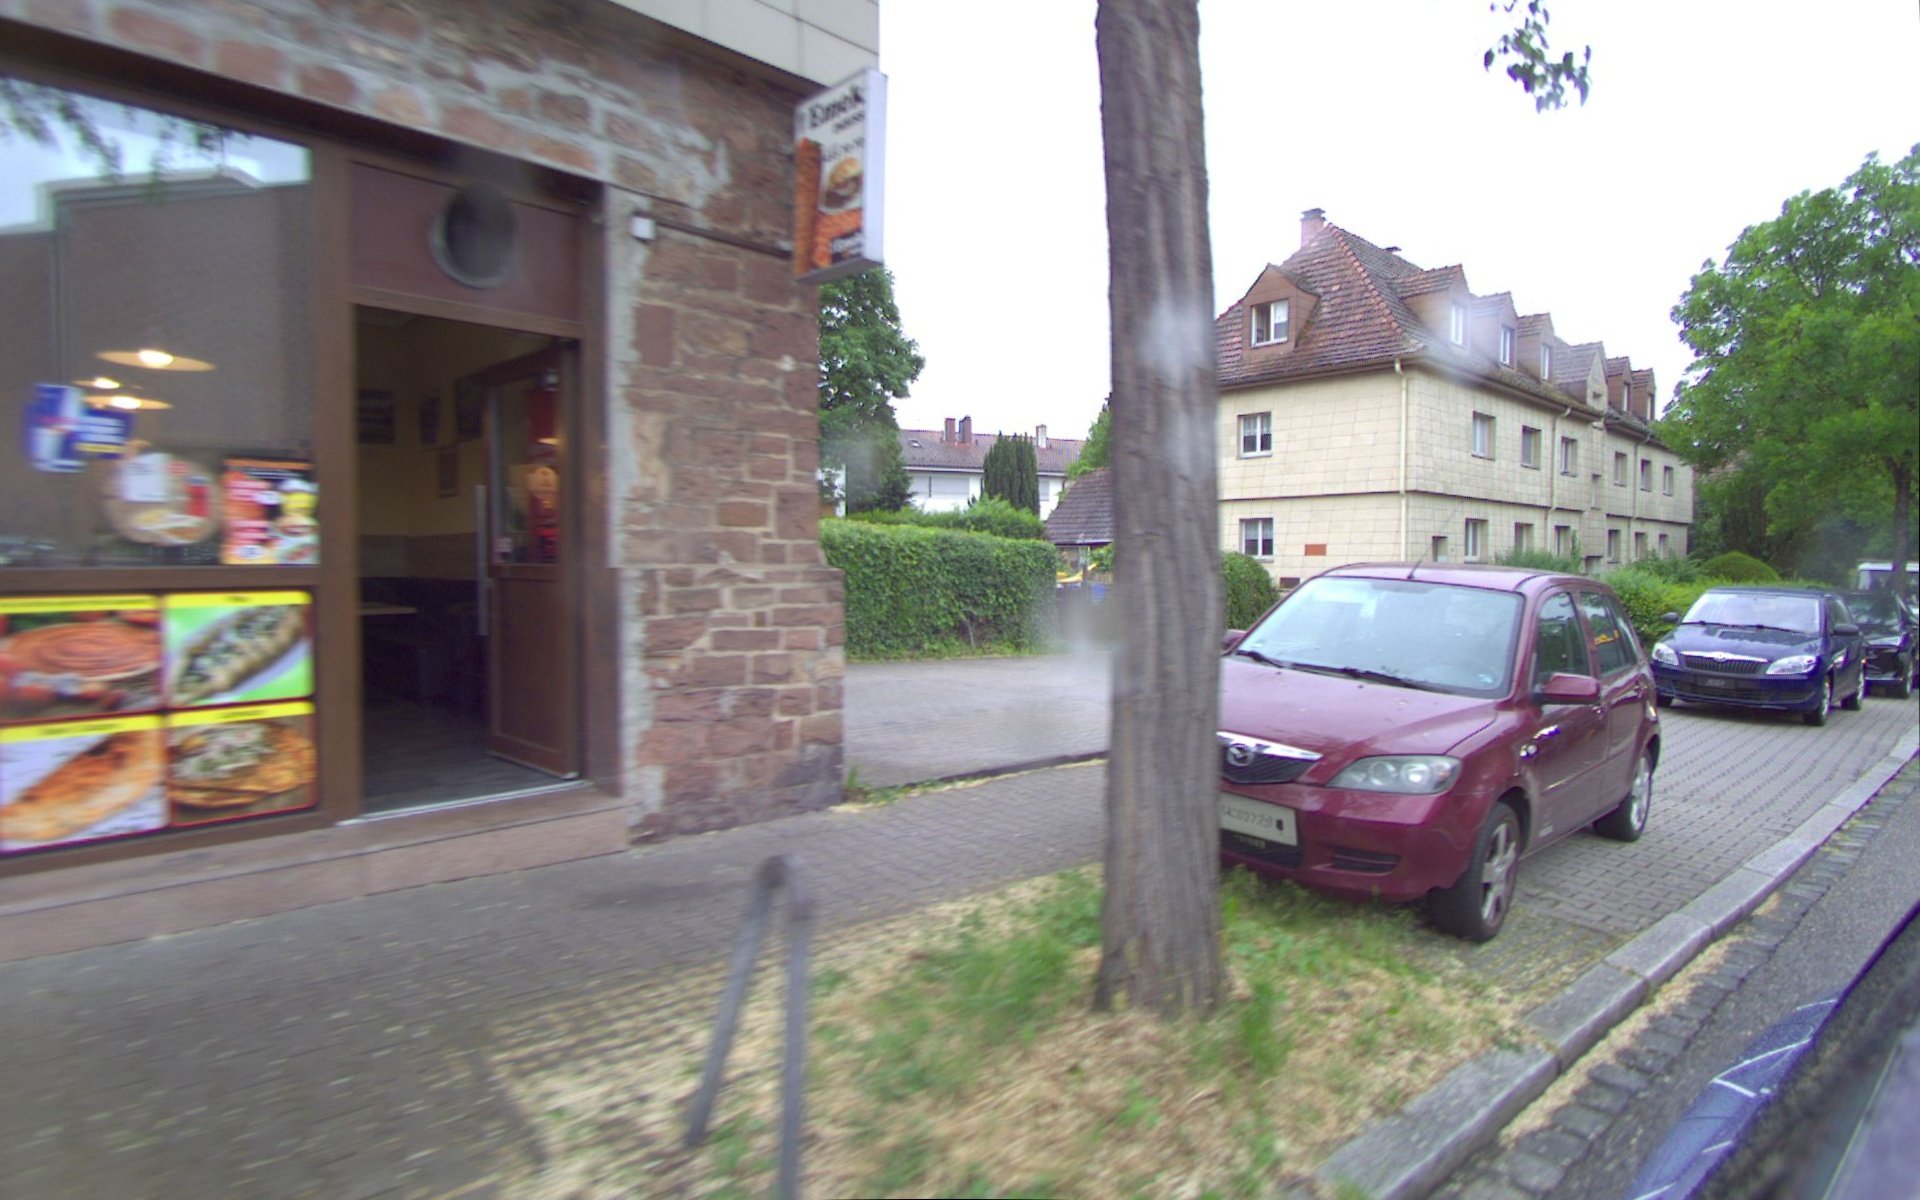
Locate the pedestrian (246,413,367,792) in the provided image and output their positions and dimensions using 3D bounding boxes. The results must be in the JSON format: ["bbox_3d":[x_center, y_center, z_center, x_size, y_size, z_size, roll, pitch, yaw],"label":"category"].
[{"bbox_3d":[-3.299,0.006,5.149,0.475,1.752,0.803,0,0,-31],"label":"pedestrian"}]

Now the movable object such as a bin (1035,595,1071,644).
[{"bbox_3d":[1.835,0.381,19.943,0.441,0.954,0.539,0,0,-45],"label":"movable object such as a bin"}]

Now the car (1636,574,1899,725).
[{"bbox_3d":[9.704,0.453,12.060,3.930,1.441,1.719,-1,4,-41],"label":"car"}]

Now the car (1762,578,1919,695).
[{"bbox_3d":[13.741,0.445,15.423,3.932,1.481,1.718,-1,4,-42],"label":"car"}]

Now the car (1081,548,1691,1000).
[{"bbox_3d":[2.450,0.531,5.311,3.695,1.522,1.611,-3,2,-44],"label":"car"}]

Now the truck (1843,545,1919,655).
[{"bbox_3d":[21.588,-0.001,22.556,5.653,2.224,1.998,0,2,-40],"label":"truck"}]

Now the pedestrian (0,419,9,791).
[{"bbox_3d":[-4.648,0.023,4.597,0.446,1.681,0.493,0,0,-41],"label":"pedestrian"}]
